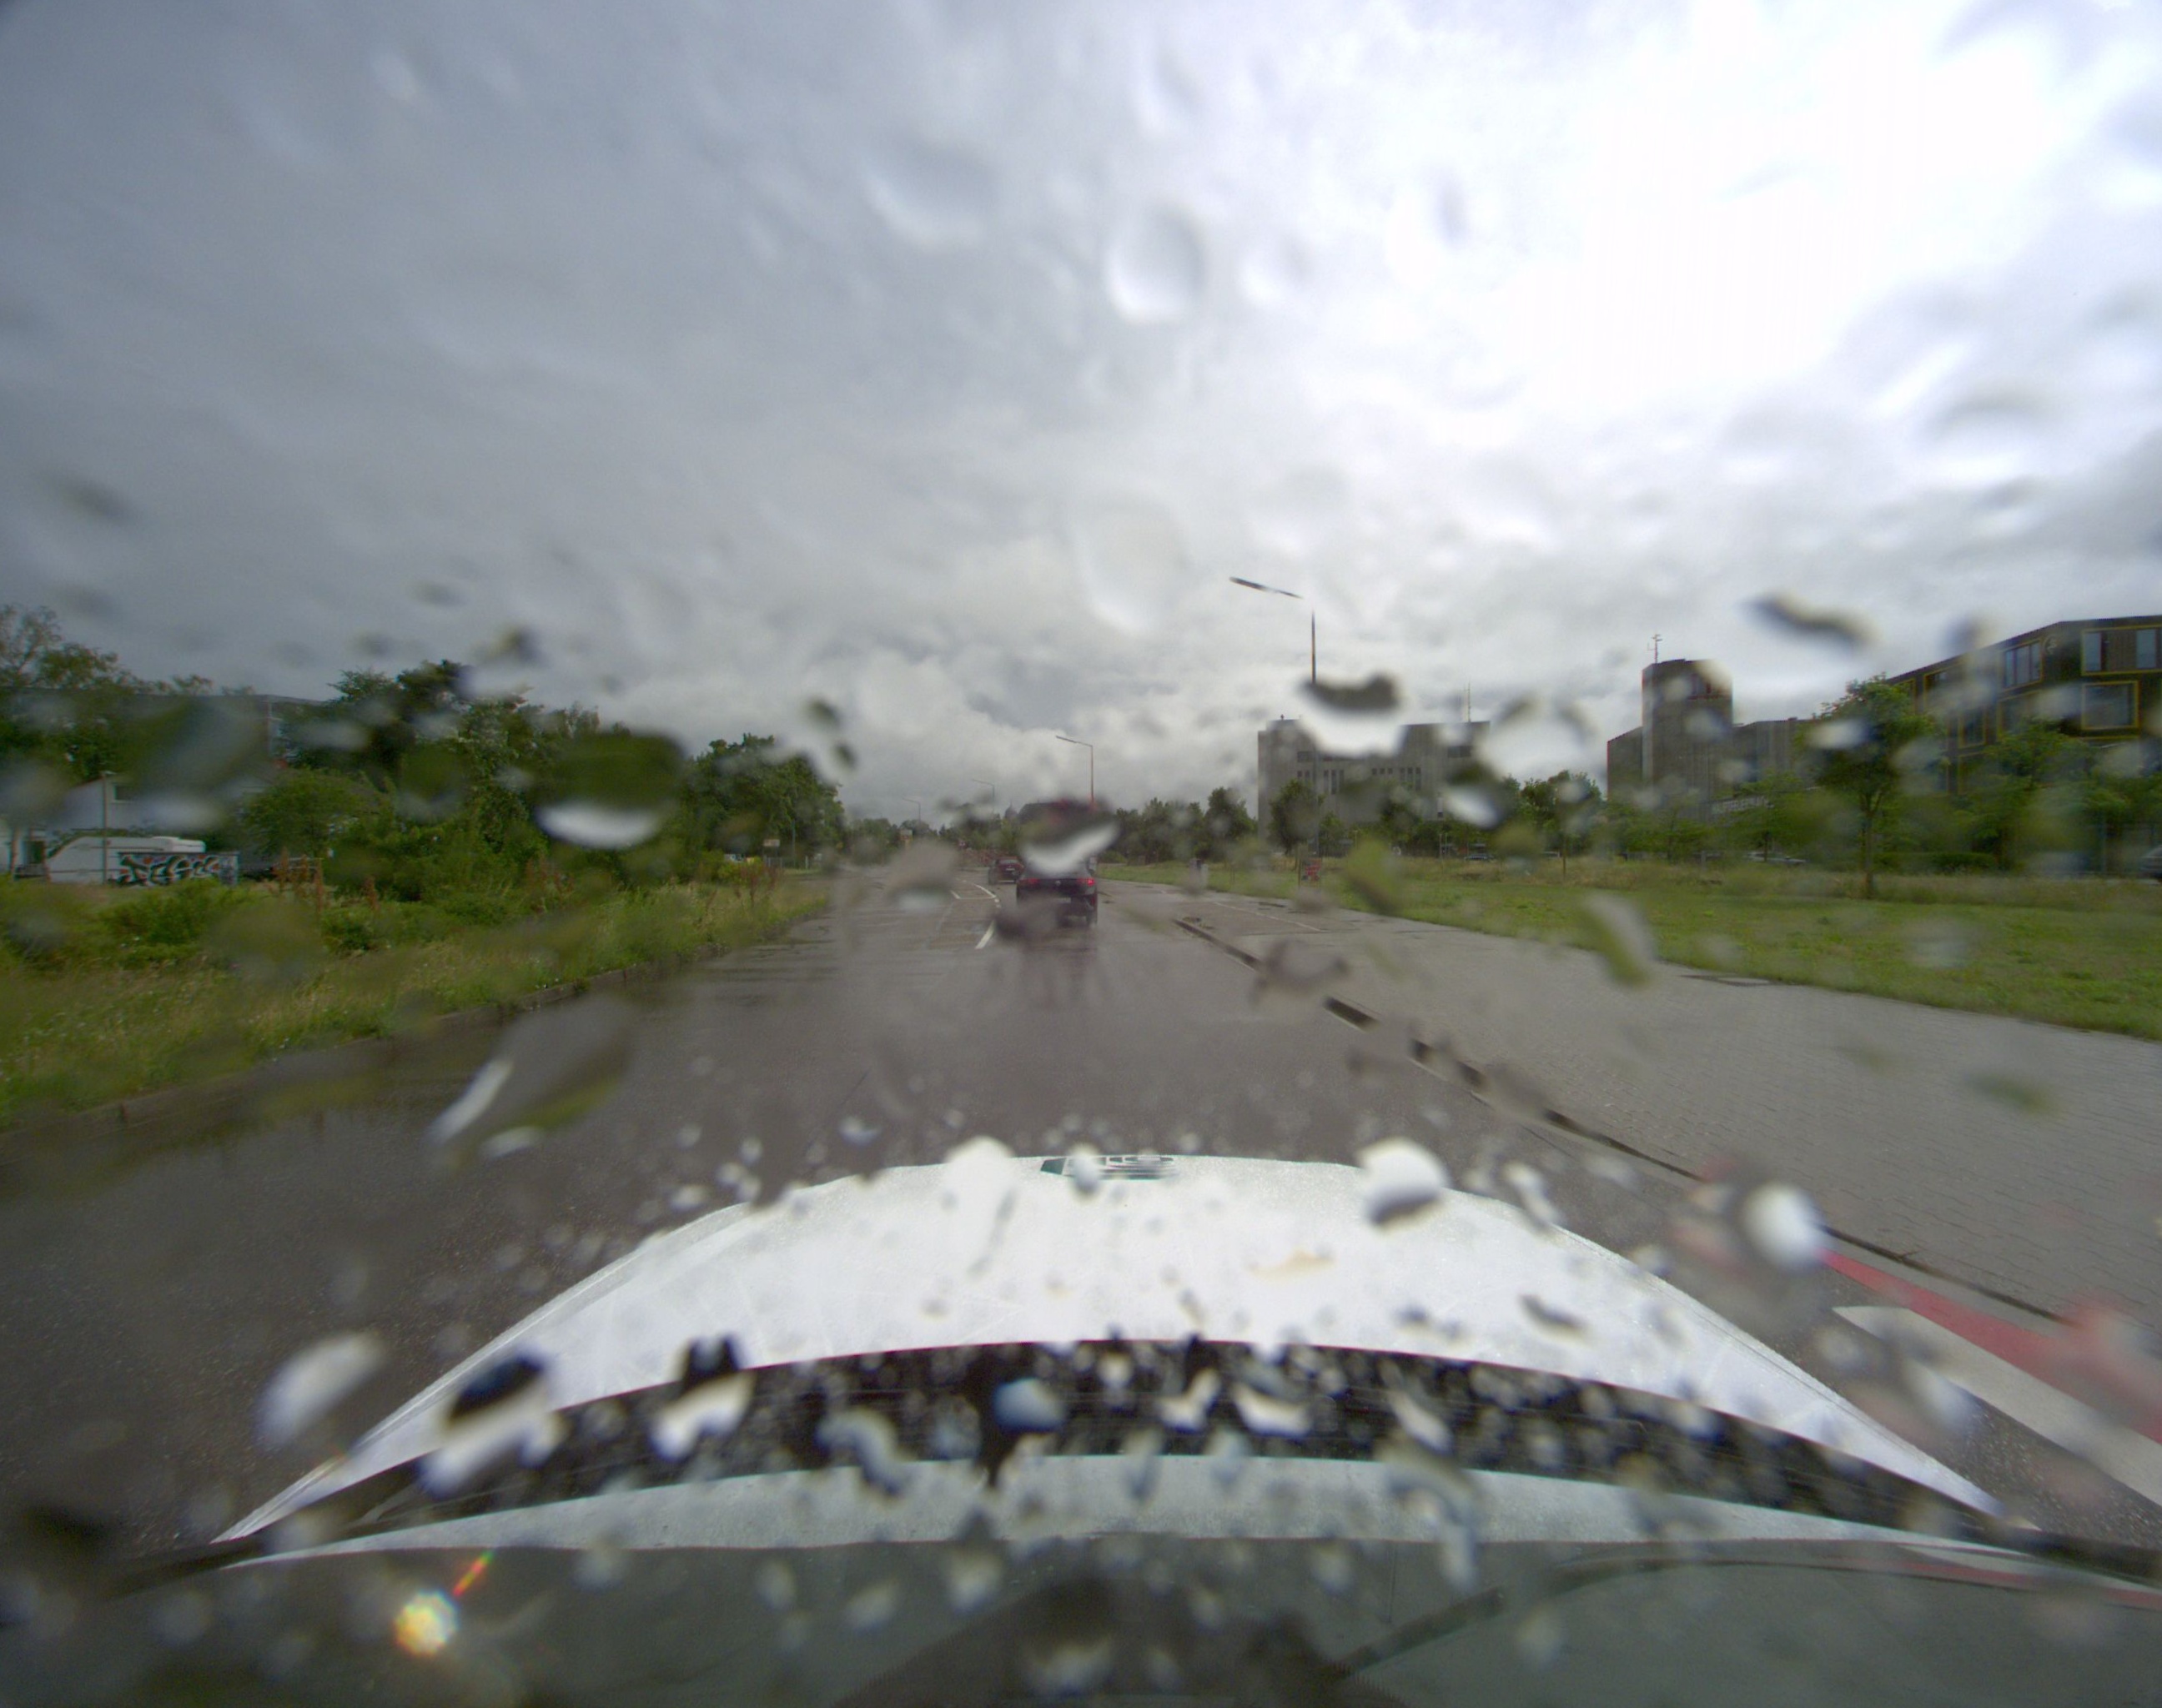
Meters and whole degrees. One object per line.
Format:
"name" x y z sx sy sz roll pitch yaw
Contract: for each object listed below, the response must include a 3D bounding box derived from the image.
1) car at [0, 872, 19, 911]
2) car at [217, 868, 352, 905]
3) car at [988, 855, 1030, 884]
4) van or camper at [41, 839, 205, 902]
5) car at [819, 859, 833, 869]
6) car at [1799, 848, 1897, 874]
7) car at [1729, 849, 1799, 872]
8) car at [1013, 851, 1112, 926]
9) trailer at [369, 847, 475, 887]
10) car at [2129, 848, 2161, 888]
"car" -52.224 1.747 36.927 4.520 1.775 1.986 0 0 -21
"car" -41.006 1.624 42.077 4.520 1.775 1.986 0 0 -21
"car" -4.013 0.834 44.871 1.842 1.442 3.985 -3 0 -11
"van or camper" -46.659 0.749 39.841 4.517 2.946 2.467 0 0 -21
"car" -44.314 1.718 141.352 1.850 1.641 3.984 0 0 -24
"car" 53.064 0.501 56.462 4.503 1.762 2.010 0 0 21
"car" 55.411 0.495 66.129 3.953 1.720 1.778 2 1 22
"car" -0.542 0.714 19.102 1.984 1.520 3.992 -1 0 -6
"trailer" -36.166 0.719 44.838 4.117 2.089 1.830 1 -1 -23
"car" 44.983 0.518 32.143 4.169 1.557 1.675 -1 -1 21
